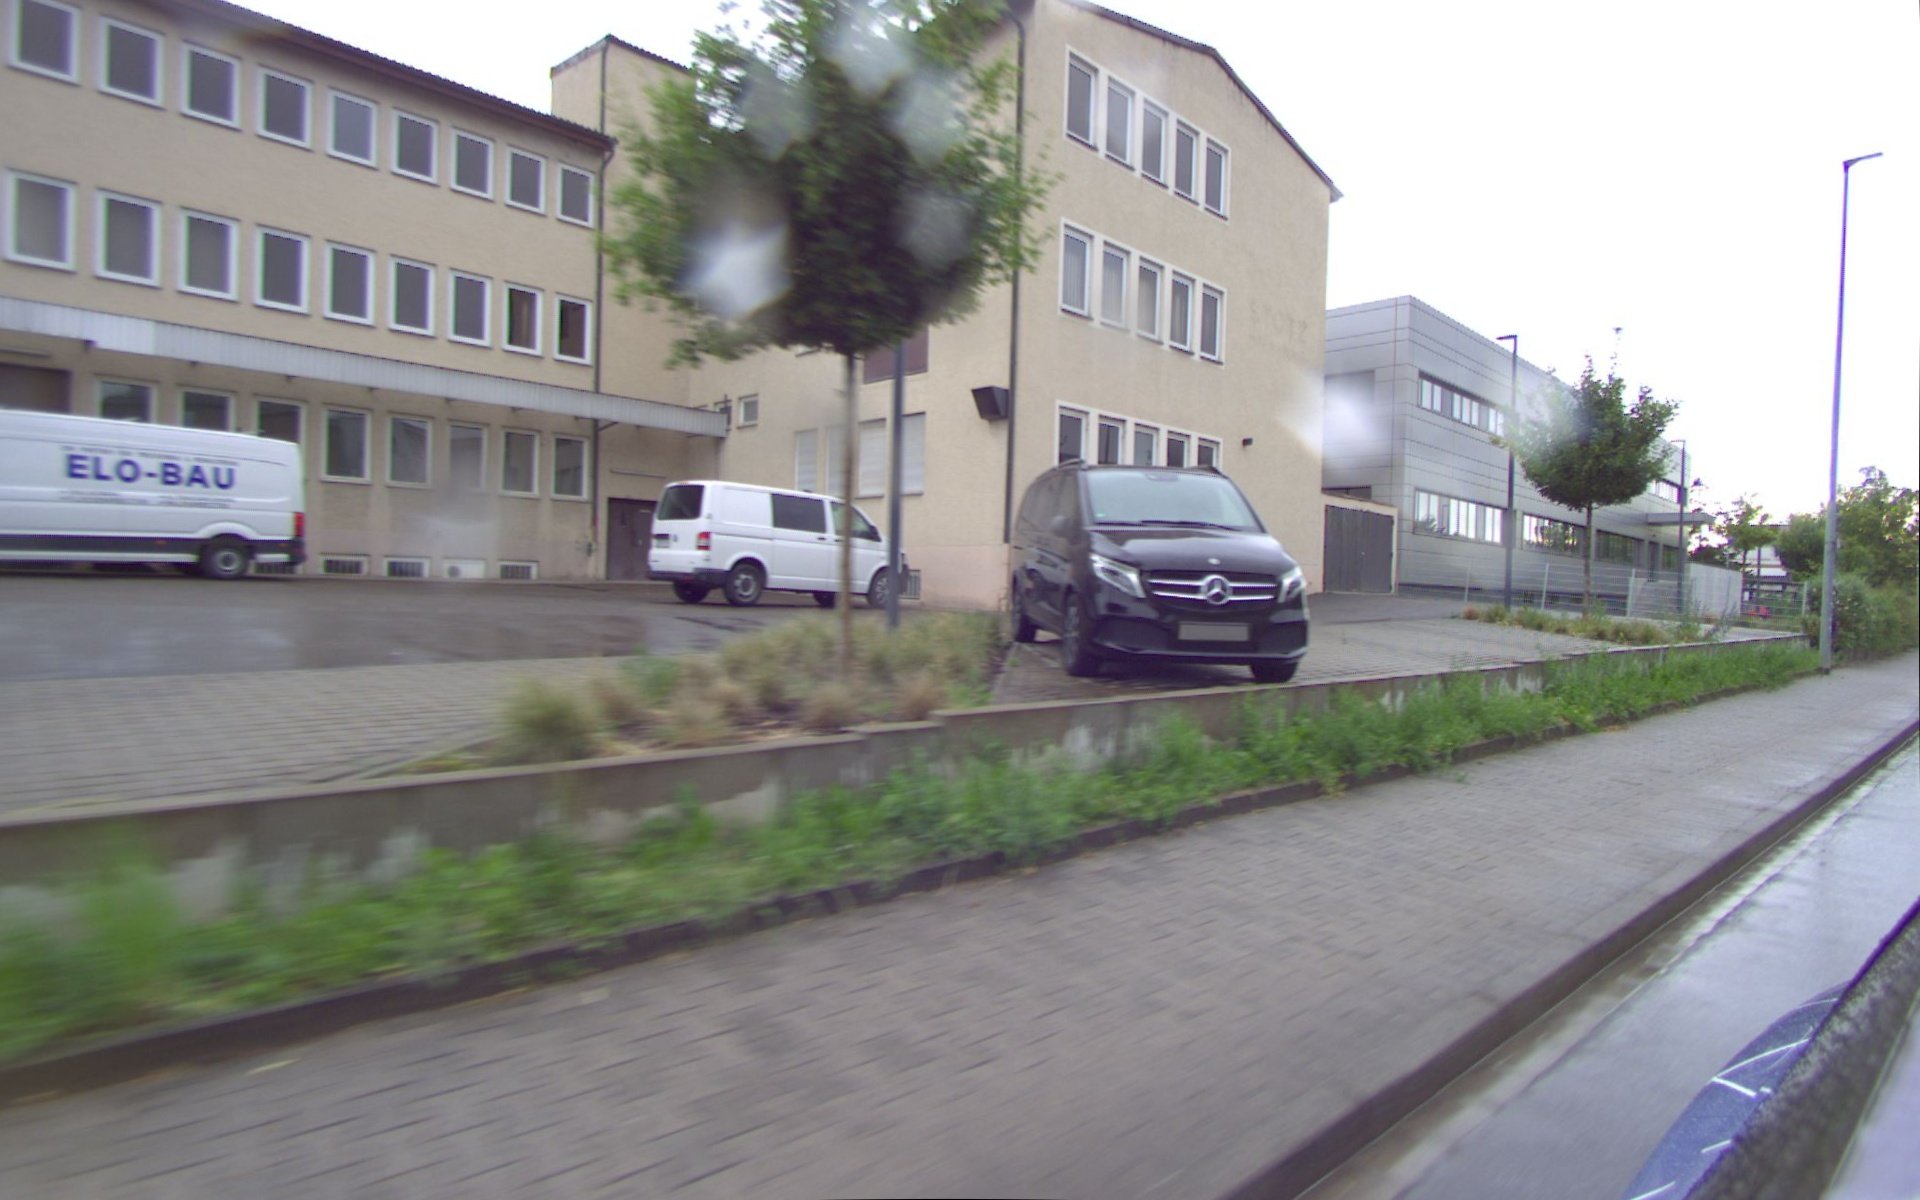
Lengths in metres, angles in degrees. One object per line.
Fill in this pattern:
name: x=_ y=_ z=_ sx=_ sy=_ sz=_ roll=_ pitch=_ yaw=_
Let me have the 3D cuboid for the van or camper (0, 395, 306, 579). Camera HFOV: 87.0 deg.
van or camper: x=-14.499 y=-1.736 z=16.137 sx=1.989 sy=2.569 sz=6.514 roll=1 pitch=-1 yaw=37

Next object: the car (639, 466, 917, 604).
car: x=-3.044 y=-1.023 z=17.635 sx=1.795 sy=2.038 sz=4.526 roll=3 pitch=1 yaw=44

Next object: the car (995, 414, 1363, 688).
car: x=1.703 y=-0.480 z=9.955 sx=2.012 sy=1.942 sz=5.124 roll=2 pitch=3 yaw=-5
